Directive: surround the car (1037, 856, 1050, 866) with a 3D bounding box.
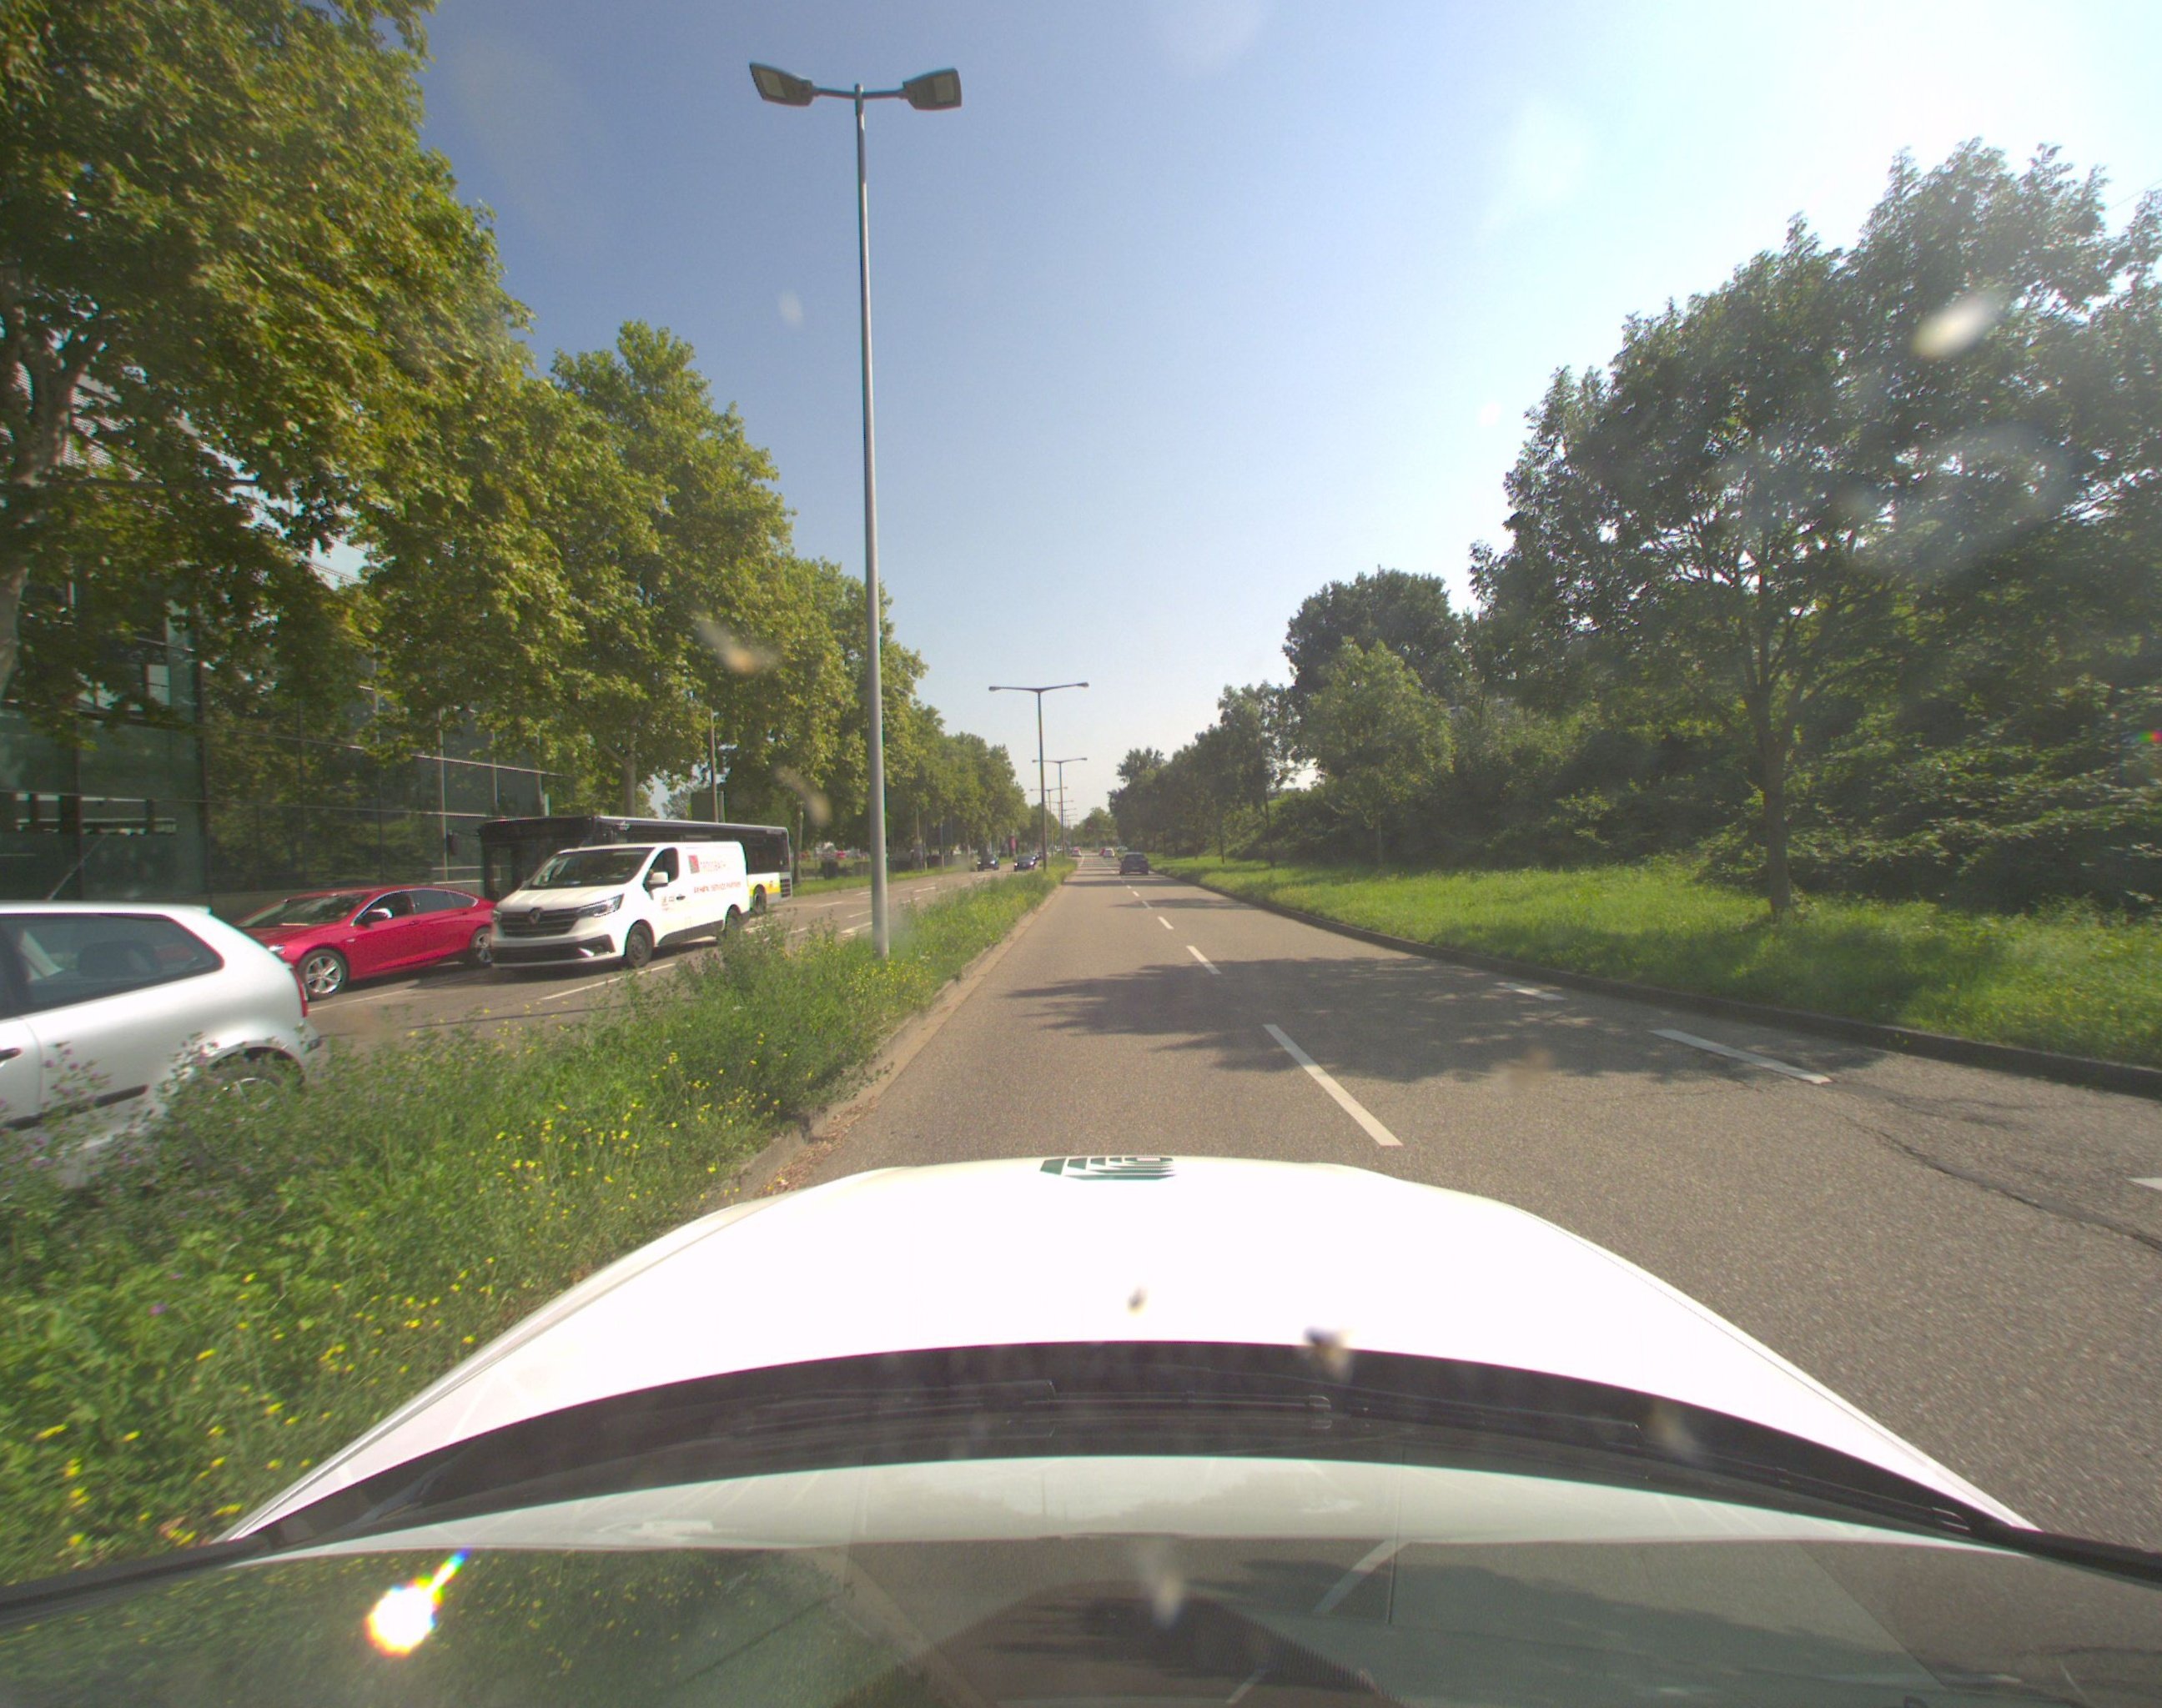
[{"bbox_3d":[-6.285,1.108,135.278,1.988,1.585,4.344,-2,0,-1],"label":"car"}]

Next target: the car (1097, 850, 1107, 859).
[{"bbox_3d":[4.541,0.020,174.421,1.988,1.653,4.000,-1,4,-1],"label":"car"}]

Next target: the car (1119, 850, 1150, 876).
[{"bbox_3d":[3.432,0.530,52.577,1.774,1.427,4.001,0,3,0],"label":"car"}]

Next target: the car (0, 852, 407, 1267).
[{"bbox_3d":[-4.922,0.849,2.827,1.609,1.535,4.101,-4,1,0],"label":"car"}]

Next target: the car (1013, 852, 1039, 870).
[{"bbox_3d":[-4.859,0.592,72.179,1.839,1.490,4.644,-3,0,1],"label":"car"}]

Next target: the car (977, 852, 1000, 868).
[{"bbox_3d":[-9.502,0.625,83.795,1.840,1.605,4.608,-1,0,-1],"label":"car"}]

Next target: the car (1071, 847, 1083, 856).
[{"bbox_3d":[-0.712,-0.434,152.575,1.984,1.702,4.005,-3,0,4],"label":"car"}]

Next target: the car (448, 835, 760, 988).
[{"bbox_3d":[-7.513,0.755,13.663,1.920,1.960,5.192,-4,0,2],"label":"car"}]

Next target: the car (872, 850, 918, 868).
[{"bbox_3d":[-24.845,0.661,108.660,5.568,2.336,2.278,0,2,-2],"label":"car"}]

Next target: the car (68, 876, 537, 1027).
[{"bbox_3d":[-10.688,1.190,11.964,1.773,1.511,5.212,-4,0,0],"label":"car"}]

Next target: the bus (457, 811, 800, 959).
[{"bbox_3d":[-10.689,0.618,21.299,2.653,2.694,10.905,-4,0,0],"label":"bus"}]

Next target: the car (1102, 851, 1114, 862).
[{"bbox_3d":[4.599,0.420,139.814,1.987,1.654,4.000,-3,0,0],"label":"car"}]
